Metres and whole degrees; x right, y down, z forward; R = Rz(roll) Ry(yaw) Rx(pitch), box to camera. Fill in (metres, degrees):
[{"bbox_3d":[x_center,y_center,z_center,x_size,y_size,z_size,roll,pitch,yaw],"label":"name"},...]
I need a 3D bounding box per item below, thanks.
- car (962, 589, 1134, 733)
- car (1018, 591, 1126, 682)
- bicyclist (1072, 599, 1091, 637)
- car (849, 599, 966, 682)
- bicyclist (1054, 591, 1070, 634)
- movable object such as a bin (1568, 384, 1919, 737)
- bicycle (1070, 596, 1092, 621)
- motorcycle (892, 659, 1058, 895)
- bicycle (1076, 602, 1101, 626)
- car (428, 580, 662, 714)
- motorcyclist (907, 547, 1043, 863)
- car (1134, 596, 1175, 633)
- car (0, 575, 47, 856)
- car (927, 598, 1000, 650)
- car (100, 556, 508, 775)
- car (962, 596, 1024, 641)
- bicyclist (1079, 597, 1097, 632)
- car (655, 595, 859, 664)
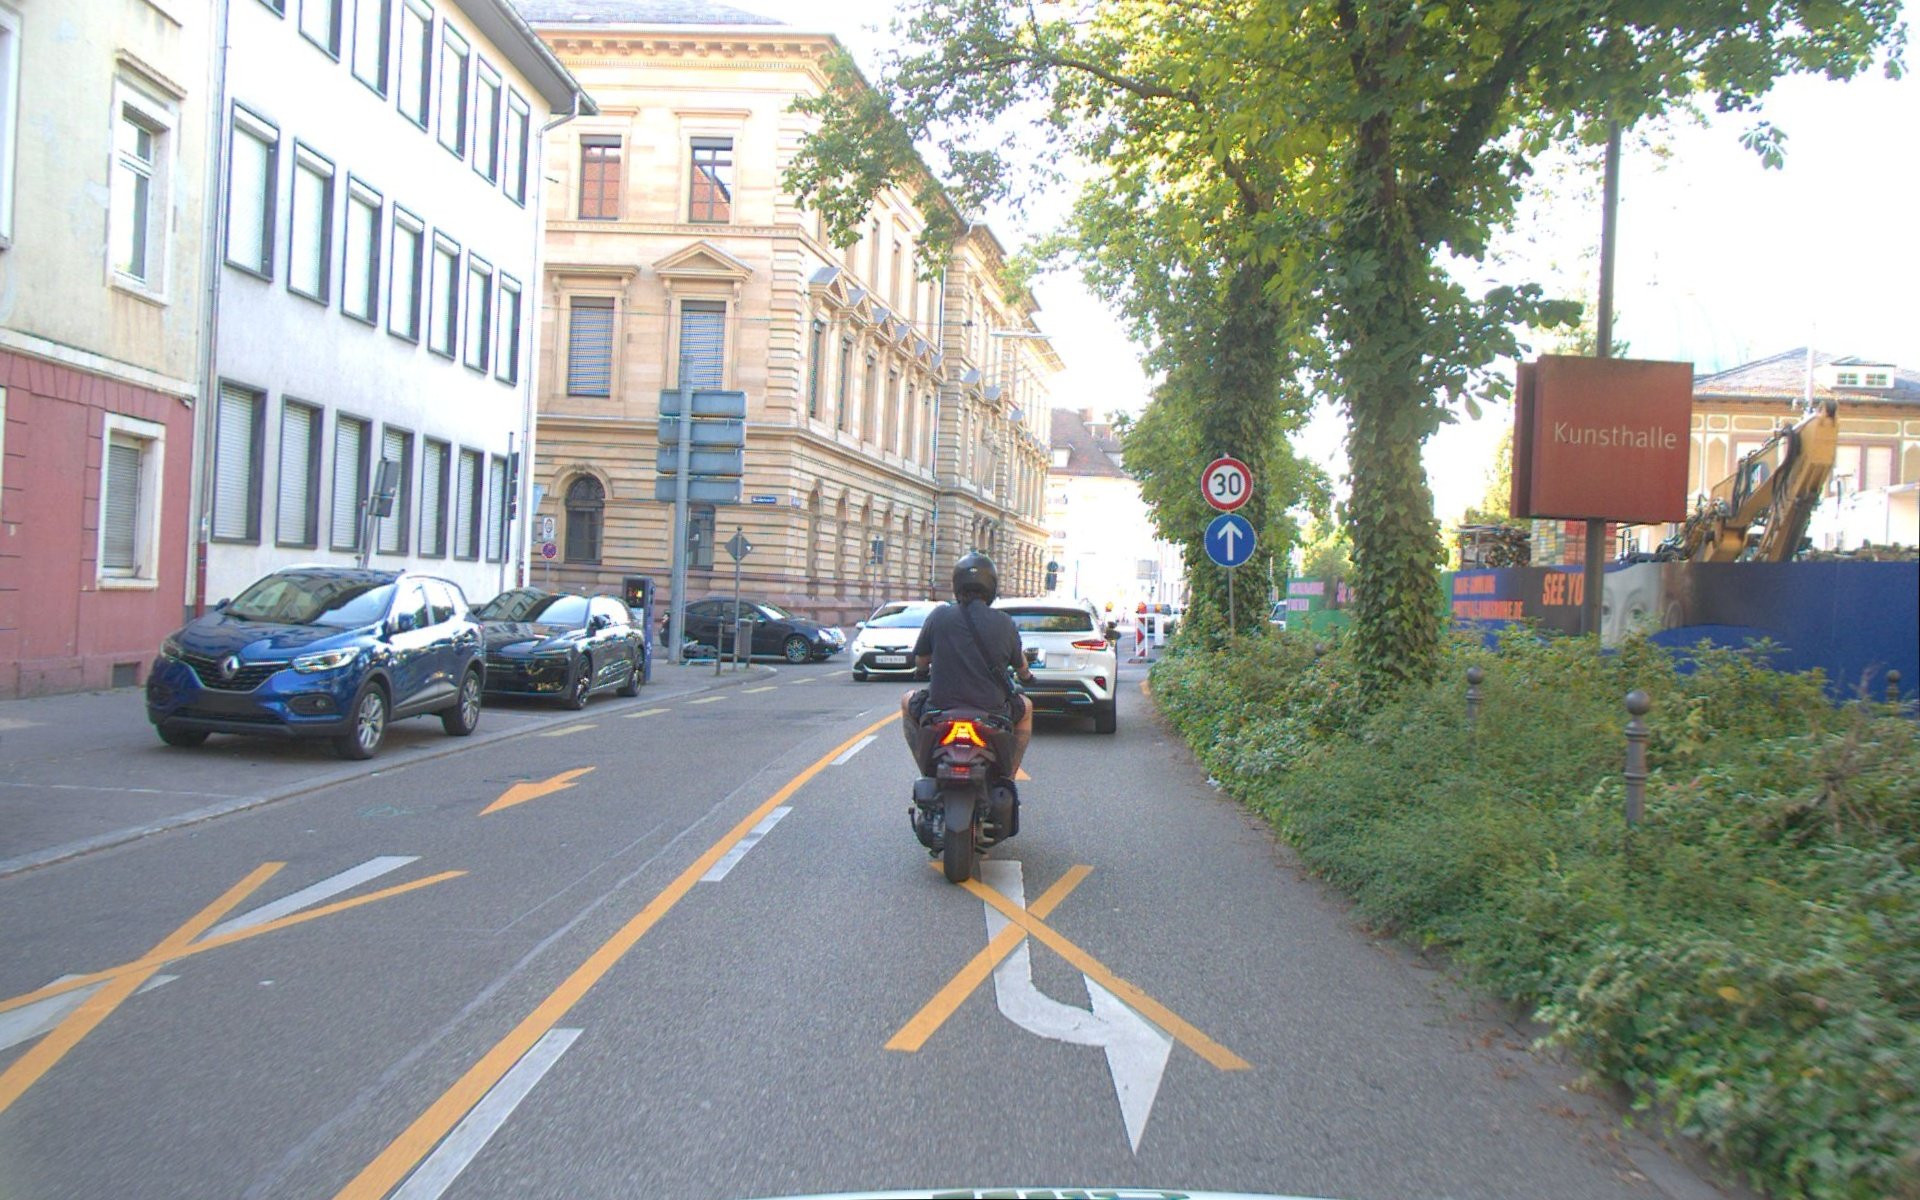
[{"bbox_3d":[0.991,0.643,19.661,1.812,1.506,4.058,1,0,1],"label":"car"},{"bbox_3d":[2.155,0.644,30.993,1.801,1.489,4.060,3,0,6],"label":"car"},{"bbox_3d":[5.248,0.773,71.200,0.615,1.642,0.870,1,0,16],"label":"bicyclist"},{"bbox_3d":[-0.942,0.733,31.997,1.698,1.446,4.431,-1,0,6],"label":"car"},{"bbox_3d":[4.118,0.513,66.850,0.554,1.696,0.835,1,0,8],"label":"bicyclist"},{"bbox_3d":[12.374,-0.531,25.877,3.237,4.618,7.909,2,0,4],"label":"movable object such as a bin"},{"bbox_3d":[5.203,0.373,71.224,0.521,1.053,1.908,1,0,16],"label":"bicycle"},{"bbox_3d":[0.066,0.927,9.230,0.780,1.084,1.725,3,0,-1],"label":"motorcycle"},{"bbox_3d":[5.898,0.633,75.907,0.522,1.053,2.036,1,0,21],"label":"bicycle"},{"bbox_3d":[-5.534,0.572,22.711,1.786,1.529,4.761,3,0,2],"label":"car"},{"bbox_3d":[0.082,0.569,9.309,0.644,1.679,0.650,3,0,0],"label":"motorcyclist"},{"bbox_3d":[9.570,0.718,81.632,1.951,1.724,4.402,2,0,6],"label":"car"},{"bbox_3d":[-5.895,0.608,7.032,1.620,1.506,4.427,2,0,-2],"label":"car"},{"bbox_3d":[0.149,0.751,54.719,1.951,1.594,4.292,2,0,6],"label":"car"},{"bbox_3d":[-5.864,0.517,15.457,1.894,1.696,4.348,2,0,2],"label":"car"},{"bbox_3d":[1.272,0.666,61.738,1.951,1.555,4.187,2,0,6],"label":"car"},{"bbox_3d":[5.870,0.646,75.942,0.615,1.581,0.732,1,0,22],"label":"bicyclist"},{"bbox_3d":[-4.577,0.641,37.527,4.221,1.414,1.777,1,0,11],"label":"car"}]
